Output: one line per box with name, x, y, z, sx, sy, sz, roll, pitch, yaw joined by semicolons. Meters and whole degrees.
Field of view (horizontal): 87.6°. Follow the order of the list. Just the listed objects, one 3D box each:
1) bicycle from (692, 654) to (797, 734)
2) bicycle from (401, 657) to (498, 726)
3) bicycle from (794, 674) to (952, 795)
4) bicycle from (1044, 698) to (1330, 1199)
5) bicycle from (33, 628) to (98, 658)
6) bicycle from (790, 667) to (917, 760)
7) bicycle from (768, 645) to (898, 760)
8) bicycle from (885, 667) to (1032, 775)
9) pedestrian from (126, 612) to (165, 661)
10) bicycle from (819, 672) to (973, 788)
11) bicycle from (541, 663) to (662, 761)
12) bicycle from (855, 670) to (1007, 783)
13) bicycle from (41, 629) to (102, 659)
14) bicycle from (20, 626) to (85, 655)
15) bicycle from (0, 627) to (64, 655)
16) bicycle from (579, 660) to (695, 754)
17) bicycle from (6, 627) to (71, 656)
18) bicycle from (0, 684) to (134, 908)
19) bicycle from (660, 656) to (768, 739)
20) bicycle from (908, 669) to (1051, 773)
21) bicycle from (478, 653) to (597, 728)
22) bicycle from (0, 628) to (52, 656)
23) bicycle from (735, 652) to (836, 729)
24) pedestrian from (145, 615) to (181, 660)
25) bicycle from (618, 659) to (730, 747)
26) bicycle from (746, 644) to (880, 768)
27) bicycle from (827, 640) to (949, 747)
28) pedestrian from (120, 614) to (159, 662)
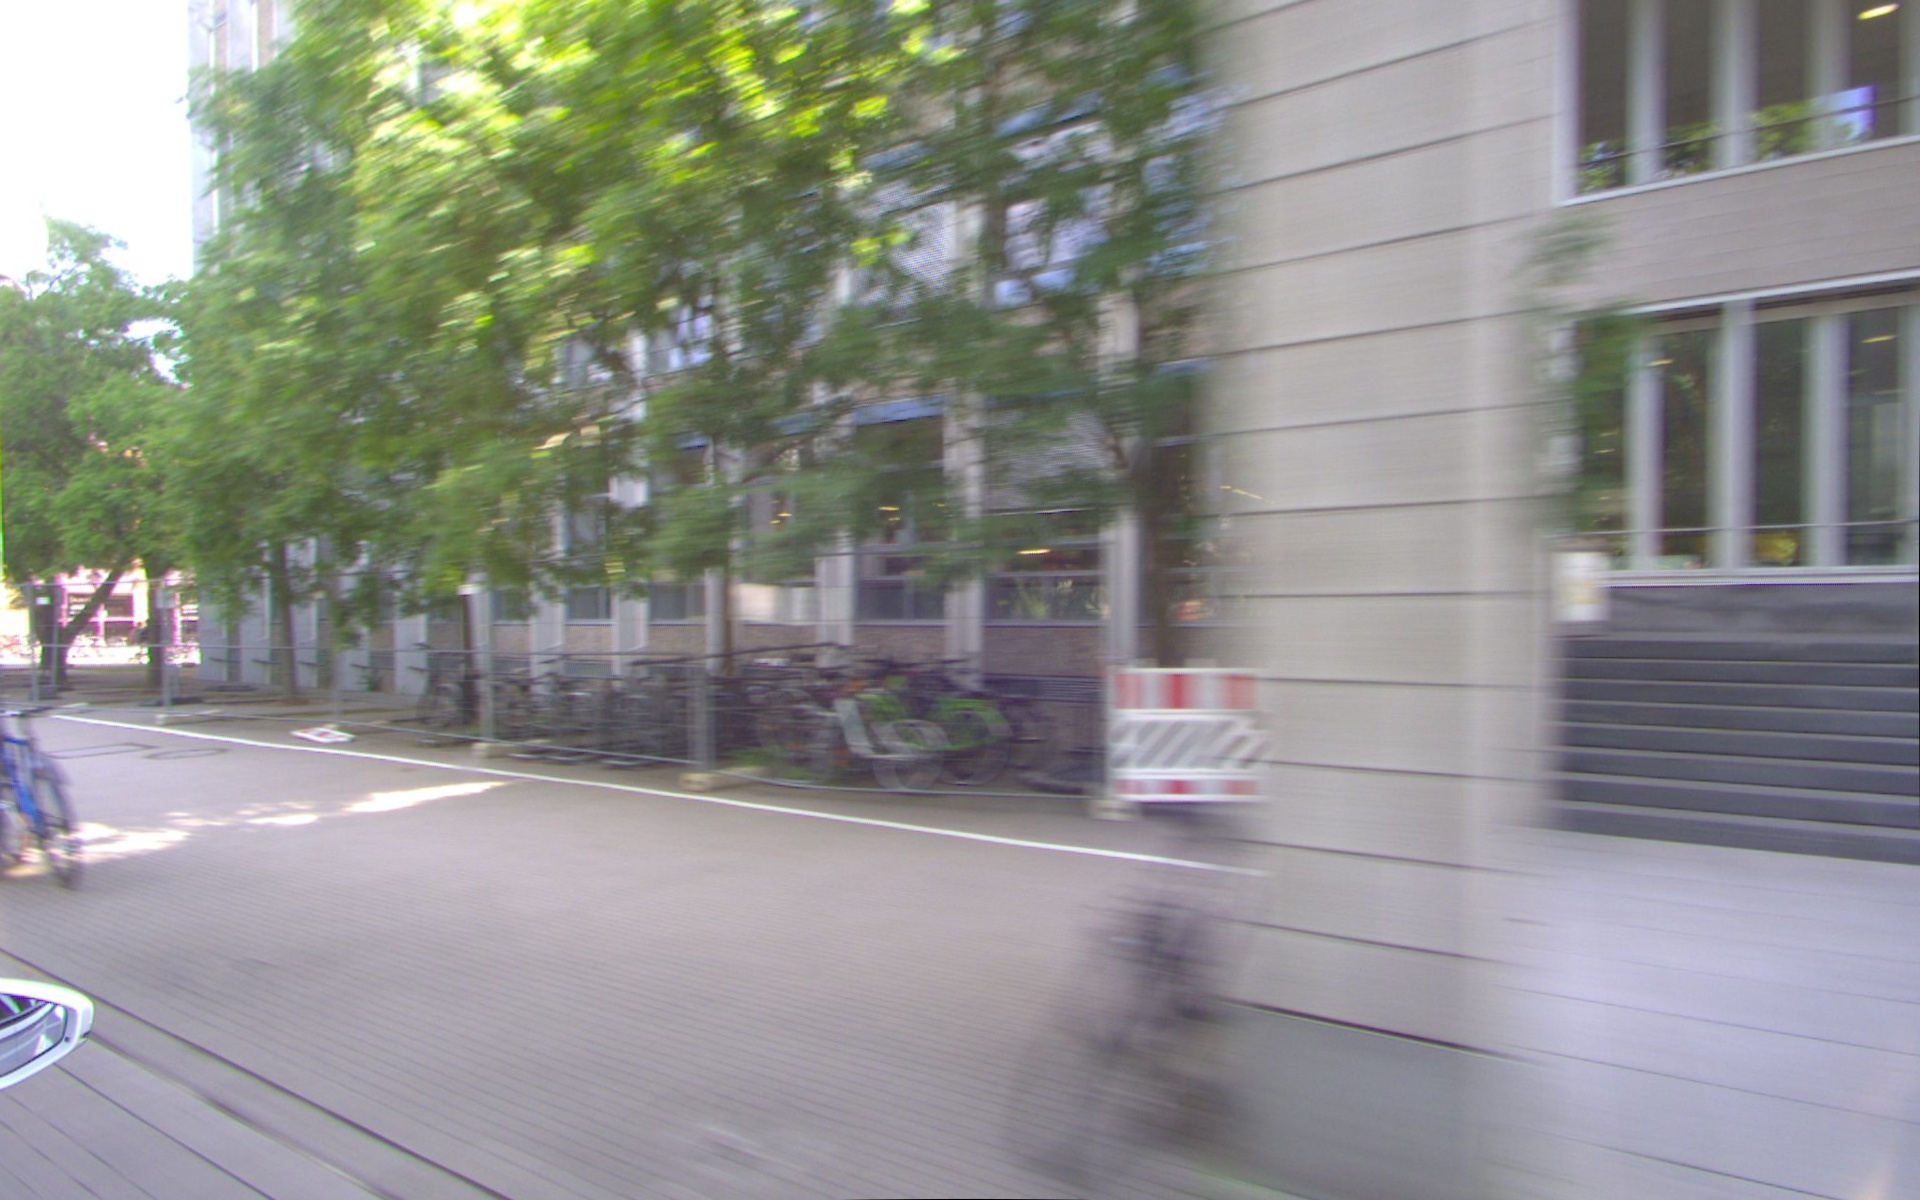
bicycle;-2.671;1.138;12.349;1.426;0.917;0.290;0;0;29
bicycle;-7.288;1.284;14.284;1.592;0.917;0.290;0;0;24
bicycle;-0.760;1.122;8.553;1.426;0.917;0.290;0;0;29
bicycle;0.795;0.916;3.091;0.442;1.053;1.737;1;1;27
bicycle;-35.097;1.681;39.303;0.517;1.124;1.804;-1;-2;35
bicycle;-1.142;1.178;10.604;1.426;0.899;0.290;0;0;29
bicycle;-1.316;1.029;10.301;1.426;1.108;0.290;0;0;29
bicycle;-0.031;1.120;9.449;1.426;0.917;0.290;0;0;29
pedestrian;-30.019;1.351;36.911;0.674;1.750;0.901;-3;-1;27
bicycle;-0.578;1.120;8.836;1.426;0.917;0.290;0;0;29
bicycle;-3.681;1.122;10.255;1.426;0.917;0.290;0;0;29
bicycle;-0.283;1.119;9.064;1.426;0.917;0.290;0;0;29
bicycle;-34.229;1.690;38.602;0.468;1.124;1.690;-1;-2;35
bicycle;-35.758;1.600;39.475;0.516;1.124;1.807;0;-2;31
bicycle;-37.341;1.648;40.332;0.516;1.124;1.808;0;-2;29
bicycle;-3.482;1.130;10.761;1.426;0.917;0.290;0;0;29
bicycle;-36.574;1.643;39.758;0.517;1.124;1.805;-1;-2;35
bicycle;-5.518;1.058;5.816;1.831;1.053;0.536;-1;0;32
bicycle;-2.935;1.141;11.918;1.426;0.917;0.290;0;0;29
bicycle;0.174;1.162;9.802;1.426;0.917;0.290;0;0;29
bicycle;-5.545;1.165;13.099;1.775;0.917;0.290;0;0;24
bicycle;-38.839;1.724;41.412;0.516;1.124;1.807;0;-2;30
bicycle;-2.275;1.155;12.974;1.426;0.917;0.290;0;0;29
pedestrian;-31.439;1.470;39.506;0.674;1.750;0.901;-3;-1;27
bicycle;-3.248;1.144;11.320;1.426;0.917;0.290;0;0;29
bicycle;-1.475;1.024;9.940;1.426;1.143;0.290;0;0;29
bicycle;-0.811;1.019;11.154;1.426;1.113;0.290;0;0;29
pedestrian;-30.666;1.402;37.445;0.674;1.750;0.901;-3;-1;27
